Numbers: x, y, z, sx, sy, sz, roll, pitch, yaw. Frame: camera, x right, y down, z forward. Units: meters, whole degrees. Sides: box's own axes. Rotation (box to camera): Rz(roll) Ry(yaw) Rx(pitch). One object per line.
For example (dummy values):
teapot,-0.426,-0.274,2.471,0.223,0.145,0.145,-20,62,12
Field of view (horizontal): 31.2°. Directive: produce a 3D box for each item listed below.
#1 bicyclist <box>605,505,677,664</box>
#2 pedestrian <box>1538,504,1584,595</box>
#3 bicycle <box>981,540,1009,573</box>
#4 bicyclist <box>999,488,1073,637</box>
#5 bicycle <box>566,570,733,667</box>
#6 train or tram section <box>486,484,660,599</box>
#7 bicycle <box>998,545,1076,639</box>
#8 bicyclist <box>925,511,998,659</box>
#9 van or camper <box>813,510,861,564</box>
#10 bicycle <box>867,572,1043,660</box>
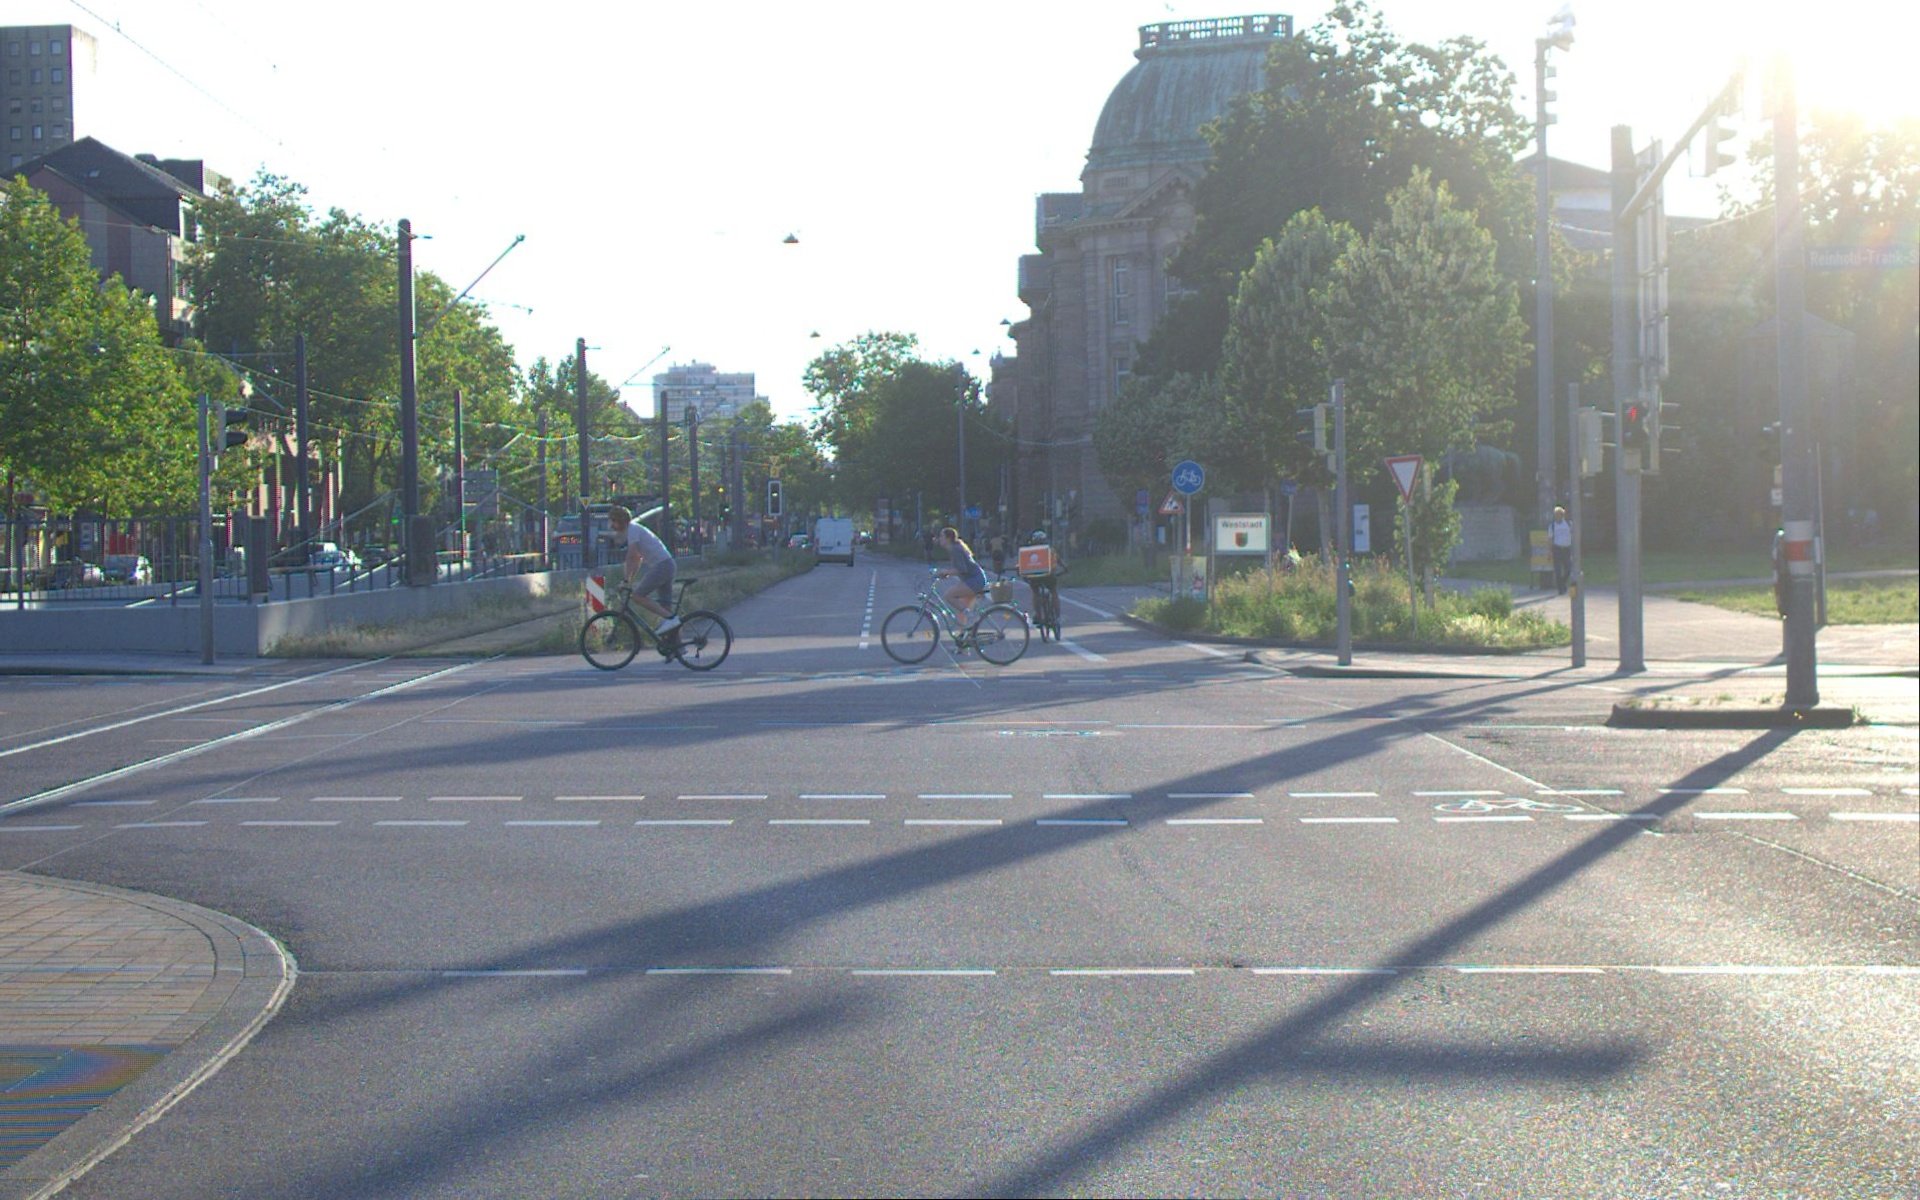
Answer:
bicyclist,-3.703,-0.184,39.852,0.792,1.812,0.646,-1,1,-6
pedestrian,12.007,-1.012,68.667,0.833,1.797,0.810,-1,1,15
bicycle,1.214,-1.531,120.726,0.924,1.108,2.333,-1,1,-1
bicyclist,1.165,-0.577,53.071,1.082,2.268,0.986,0,1,-1
bicycle,-3.606,0.206,39.884,1.900,1.071,0.632,-1,1,-7
train or tram section,-14.391,-2.274,129.057,4.387,3.836,11.410,-1,3,4
bicycle,1.175,-0.148,53.201,1.098,1.394,2.832,-1,1,-1
bicyclist,0.019,-0.191,42.781,0.876,1.812,0.538,-1,1,-1
van or camper,-6.507,-3.324,180.790,2.449,2.761,5.601,-1,1,-2
bicycle,-0.068,0.191,42.781,2.163,1.080,0.539,0,0,-2
